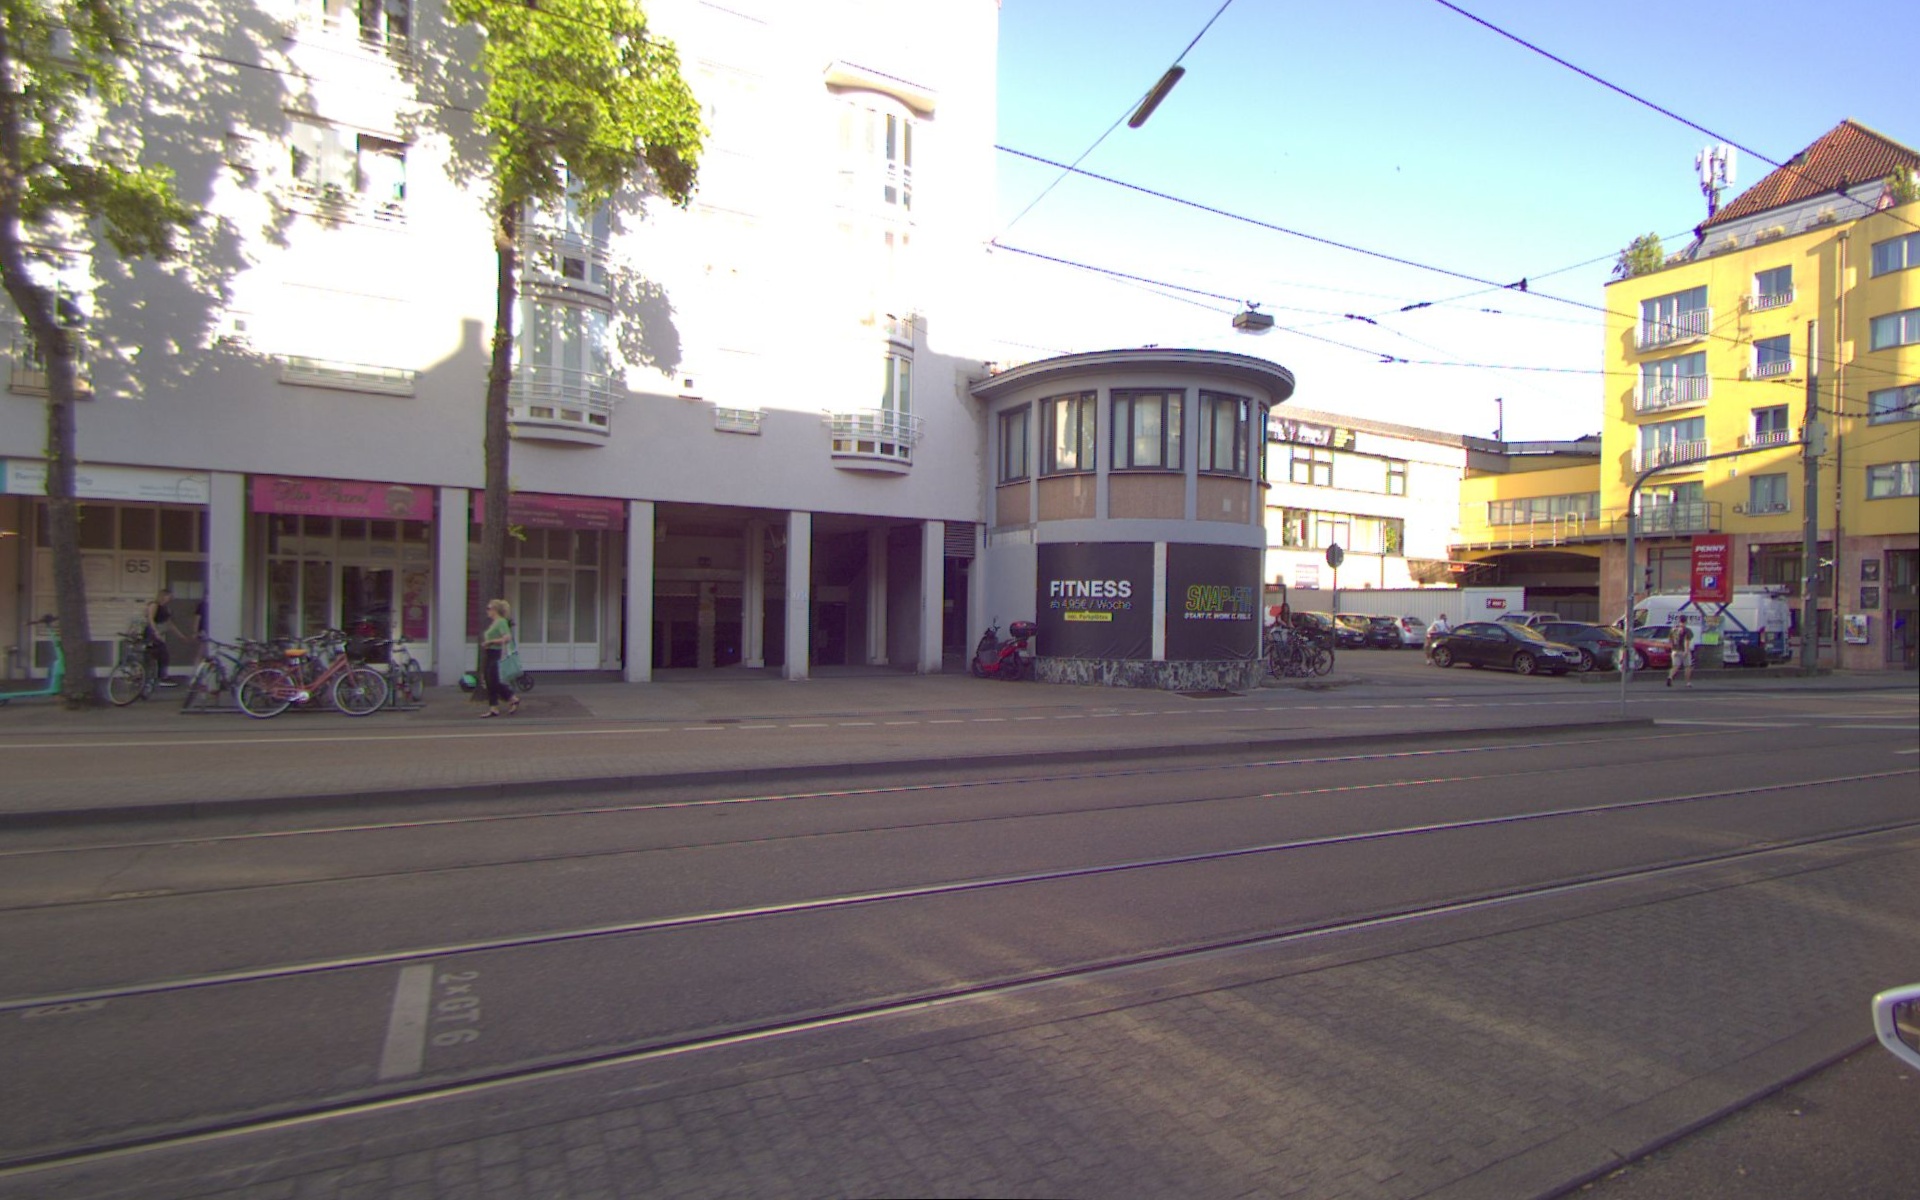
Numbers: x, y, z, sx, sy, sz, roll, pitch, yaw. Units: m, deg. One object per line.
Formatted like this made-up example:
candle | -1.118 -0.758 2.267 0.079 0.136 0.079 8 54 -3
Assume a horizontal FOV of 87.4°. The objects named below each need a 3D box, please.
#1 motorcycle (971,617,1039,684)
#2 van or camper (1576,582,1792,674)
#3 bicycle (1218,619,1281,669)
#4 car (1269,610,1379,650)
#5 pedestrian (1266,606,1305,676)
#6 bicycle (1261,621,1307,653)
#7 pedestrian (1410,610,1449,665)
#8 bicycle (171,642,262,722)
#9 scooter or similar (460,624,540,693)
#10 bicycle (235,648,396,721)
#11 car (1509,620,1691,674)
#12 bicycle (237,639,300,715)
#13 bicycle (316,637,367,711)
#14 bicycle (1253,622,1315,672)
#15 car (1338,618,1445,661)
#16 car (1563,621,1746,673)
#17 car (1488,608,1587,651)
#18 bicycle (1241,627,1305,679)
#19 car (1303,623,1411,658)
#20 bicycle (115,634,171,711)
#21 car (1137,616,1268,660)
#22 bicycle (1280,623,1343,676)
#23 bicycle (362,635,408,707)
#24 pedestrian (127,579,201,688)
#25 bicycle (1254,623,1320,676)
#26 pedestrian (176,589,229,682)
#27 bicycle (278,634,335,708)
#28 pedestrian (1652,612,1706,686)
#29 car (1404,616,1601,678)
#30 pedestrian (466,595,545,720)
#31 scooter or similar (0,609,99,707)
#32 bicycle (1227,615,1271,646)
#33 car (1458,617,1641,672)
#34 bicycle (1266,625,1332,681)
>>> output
motorcycle | 0.949 1.069 21.727 0.555 1.296 1.746 0 2 -31
van or camper | 24.539 0.897 34.341 2.286 2.865 5.583 1 0 -28
bicycle | 7.337 1.099 25.393 1.811 1.203 0.445 1 0 -33
car | 15.089 1.214 41.803 1.978 1.528 3.966 2 0 -31
pedestrian | 8.196 1.018 25.294 0.675 1.719 0.677 1 0 -31
bicycle | 12.166 1.380 37.726 1.805 1.203 0.430 1 0 -23
pedestrian | 14.744 1.159 31.560 0.826 1.691 0.766 1 0 -29
bicycle | -10.335 1.113 14.024 0.383 0.924 1.845 2 1 -16
scooter or similar | -7.769 0.986 16.976 1.158 1.126 0.336 1 0 -6
bicycle | -8.810 1.140 13.807 1.829 0.924 0.386 2 1 -29
car | 20.204 1.432 31.933 1.856 1.495 4.569 1 -1 -28
bicycle | -9.950 1.082 14.498 0.384 0.924 1.840 1 1 -23
bicycle | -9.190 1.068 14.970 0.384 0.924 1.840 1 1 -23
bicycle | 8.136 1.158 25.202 1.811 1.203 0.445 1 0 -33
car | 19.109 1.724 44.644 1.978 1.723 3.966 2 0 -31
car | 22.496 1.482 32.743 1.856 1.495 4.569 1 -1 -28
car | 24.813 1.252 43.148 4.074 1.759 1.983 1 -1 -31
bicycle | 7.605 1.275 24.370 1.811 1.203 0.440 1 0 -33
car | 17.088 1.720 43.403 1.978 1.372 3.966 2 0 -31
bicycle | -11.568 0.996 14.254 0.414 0.924 1.760 1 1 -33
car | 9.050 1.383 37.767 1.865 1.495 4.548 1 -1 -41
bicycle | 8.305 1.154 23.686 1.813 1.203 0.437 1 0 -36
bicycle | -8.682 1.044 15.194 0.384 0.924 1.840 1 1 -23
pedestrian | -13.153 0.548 16.616 0.815 1.739 0.627 1 0 -28
bicycle | 7.811 1.161 23.953 1.811 1.203 0.445 1 0 -33
pedestrian | -13.343 0.617 17.710 0.624 1.597 0.557 1 0 -28
bicycle | -9.569 1.012 14.752 0.384 0.924 1.840 1 1 -23
pedestrian | 18.398 1.233 25.716 0.898 1.857 0.829 1 0 -30
car | 15.632 1.300 29.255 1.856 1.604 4.874 1 -1 -28
pedestrian | -6.501 0.807 14.395 0.809 1.739 0.632 1 0 -2
scooter or similar | -12.712 0.799 13.891 1.161 1.296 0.377 1 3 -18
bicycle | 11.400 1.184 39.604 1.805 1.203 0.430 1 0 -23
car | 17.907 1.289 30.756 1.856 1.495 4.569 1 -1 -28
bicycle | 7.668 1.177 22.703 1.814 1.203 0.442 1 0 -36
